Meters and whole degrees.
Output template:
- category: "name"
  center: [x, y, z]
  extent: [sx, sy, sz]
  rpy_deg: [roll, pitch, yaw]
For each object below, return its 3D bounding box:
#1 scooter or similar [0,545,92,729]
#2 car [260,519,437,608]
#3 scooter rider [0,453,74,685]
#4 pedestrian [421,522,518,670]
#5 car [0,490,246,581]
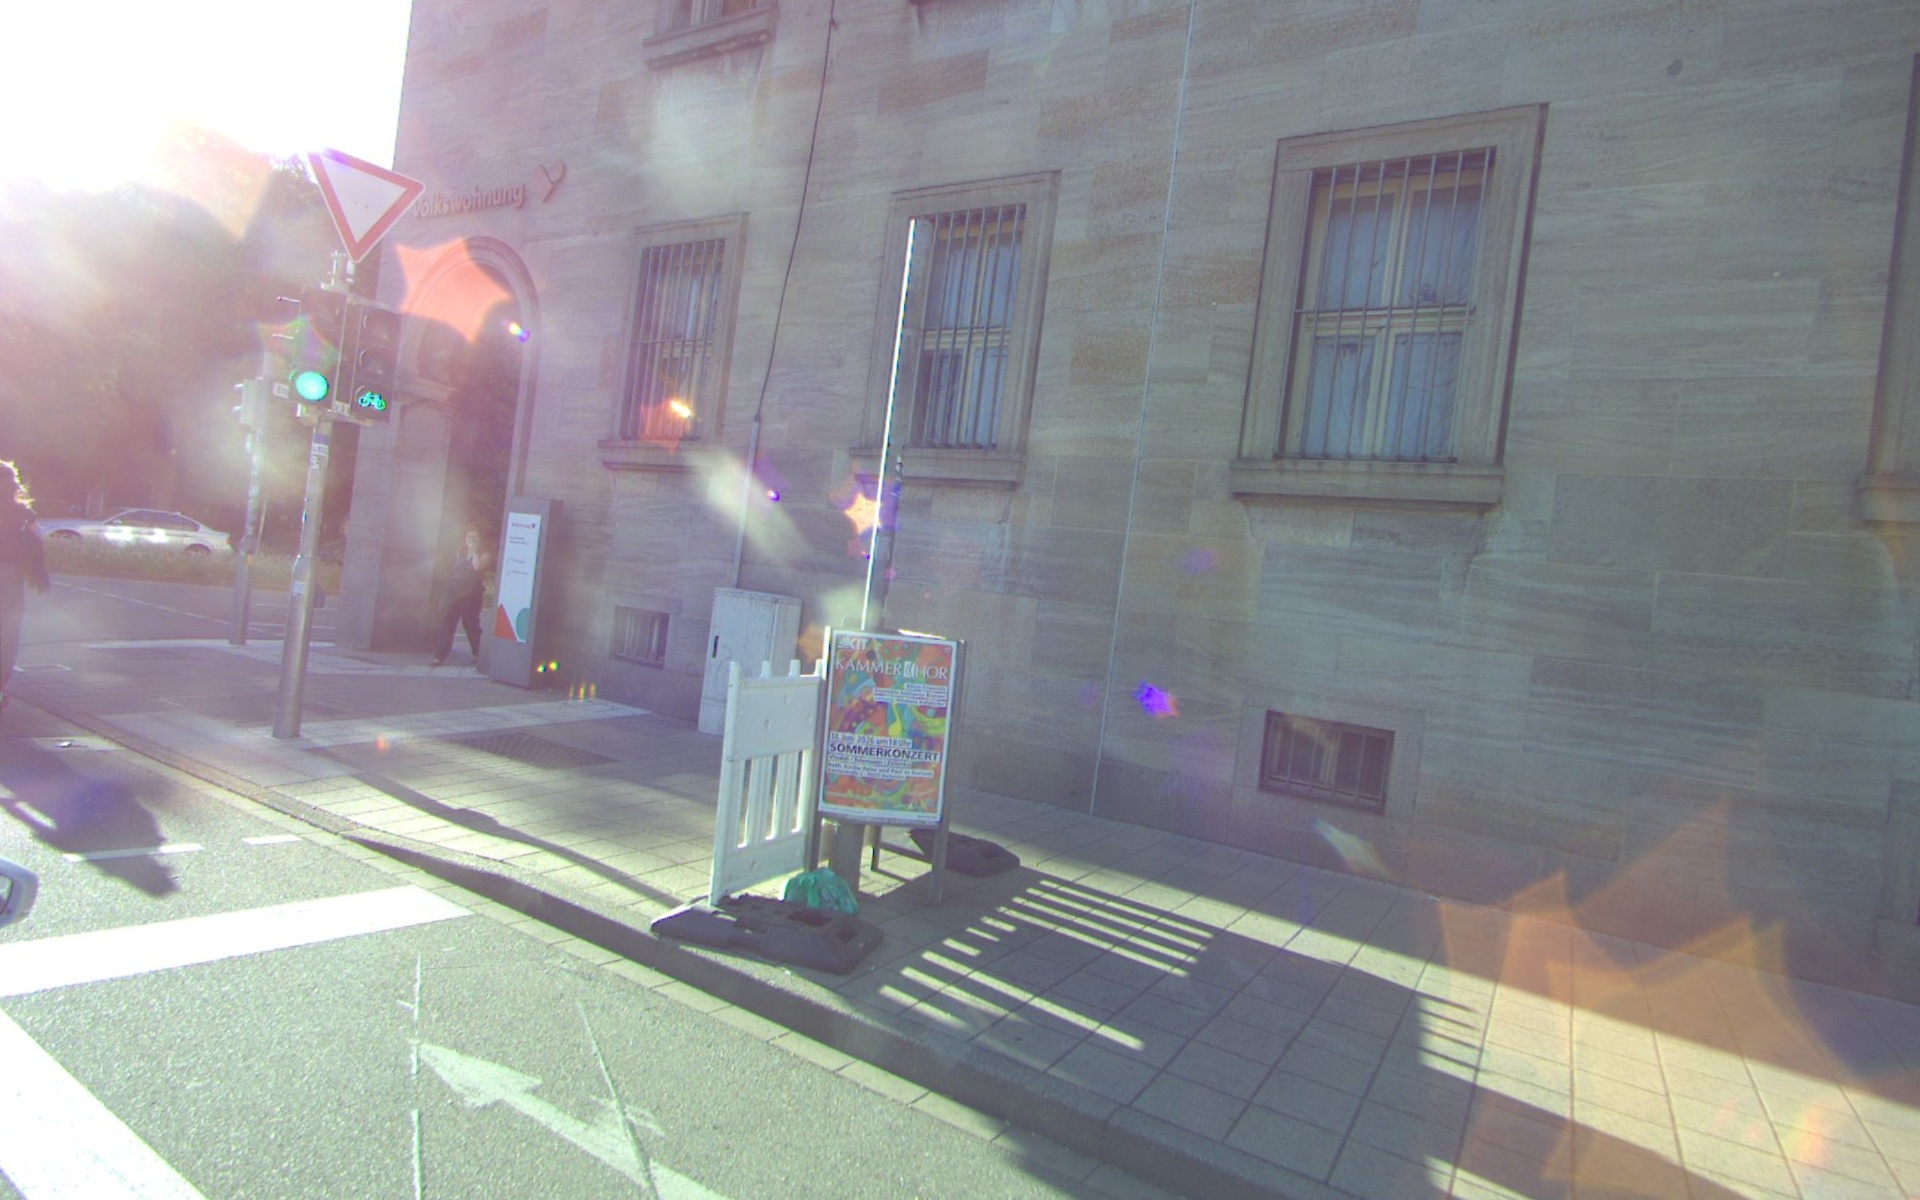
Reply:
- category: "scooter or similar"
  center: [-6.754, 0.212, 6.998]
  extent: [1.250, 1.163, 0.574]
  rpy_deg: [7, -1, 29]
- category: "car"
  center: [-18.595, -1.071, 30.757]
  extent: [1.968, 2.036, 3.994]
  rpy_deg: [6, -2, 33]
- category: "scooter rider"
  center: [-6.806, -0.231, 7.096]
  extent: [0.567, 1.581, 0.546]
  rpy_deg: [7, 0, 30]
- category: "pedestrian"
  center: [-5.721, -0.048, 11.736]
  extent: [0.799, 1.629, 0.596]
  rpy_deg: [6, 3, 31]
- category: "car"
  center: [-21.786, -1.619, 26.301]
  extent: [1.967, 1.533, 4.586]
  rpy_deg: [6, -3, 32]
